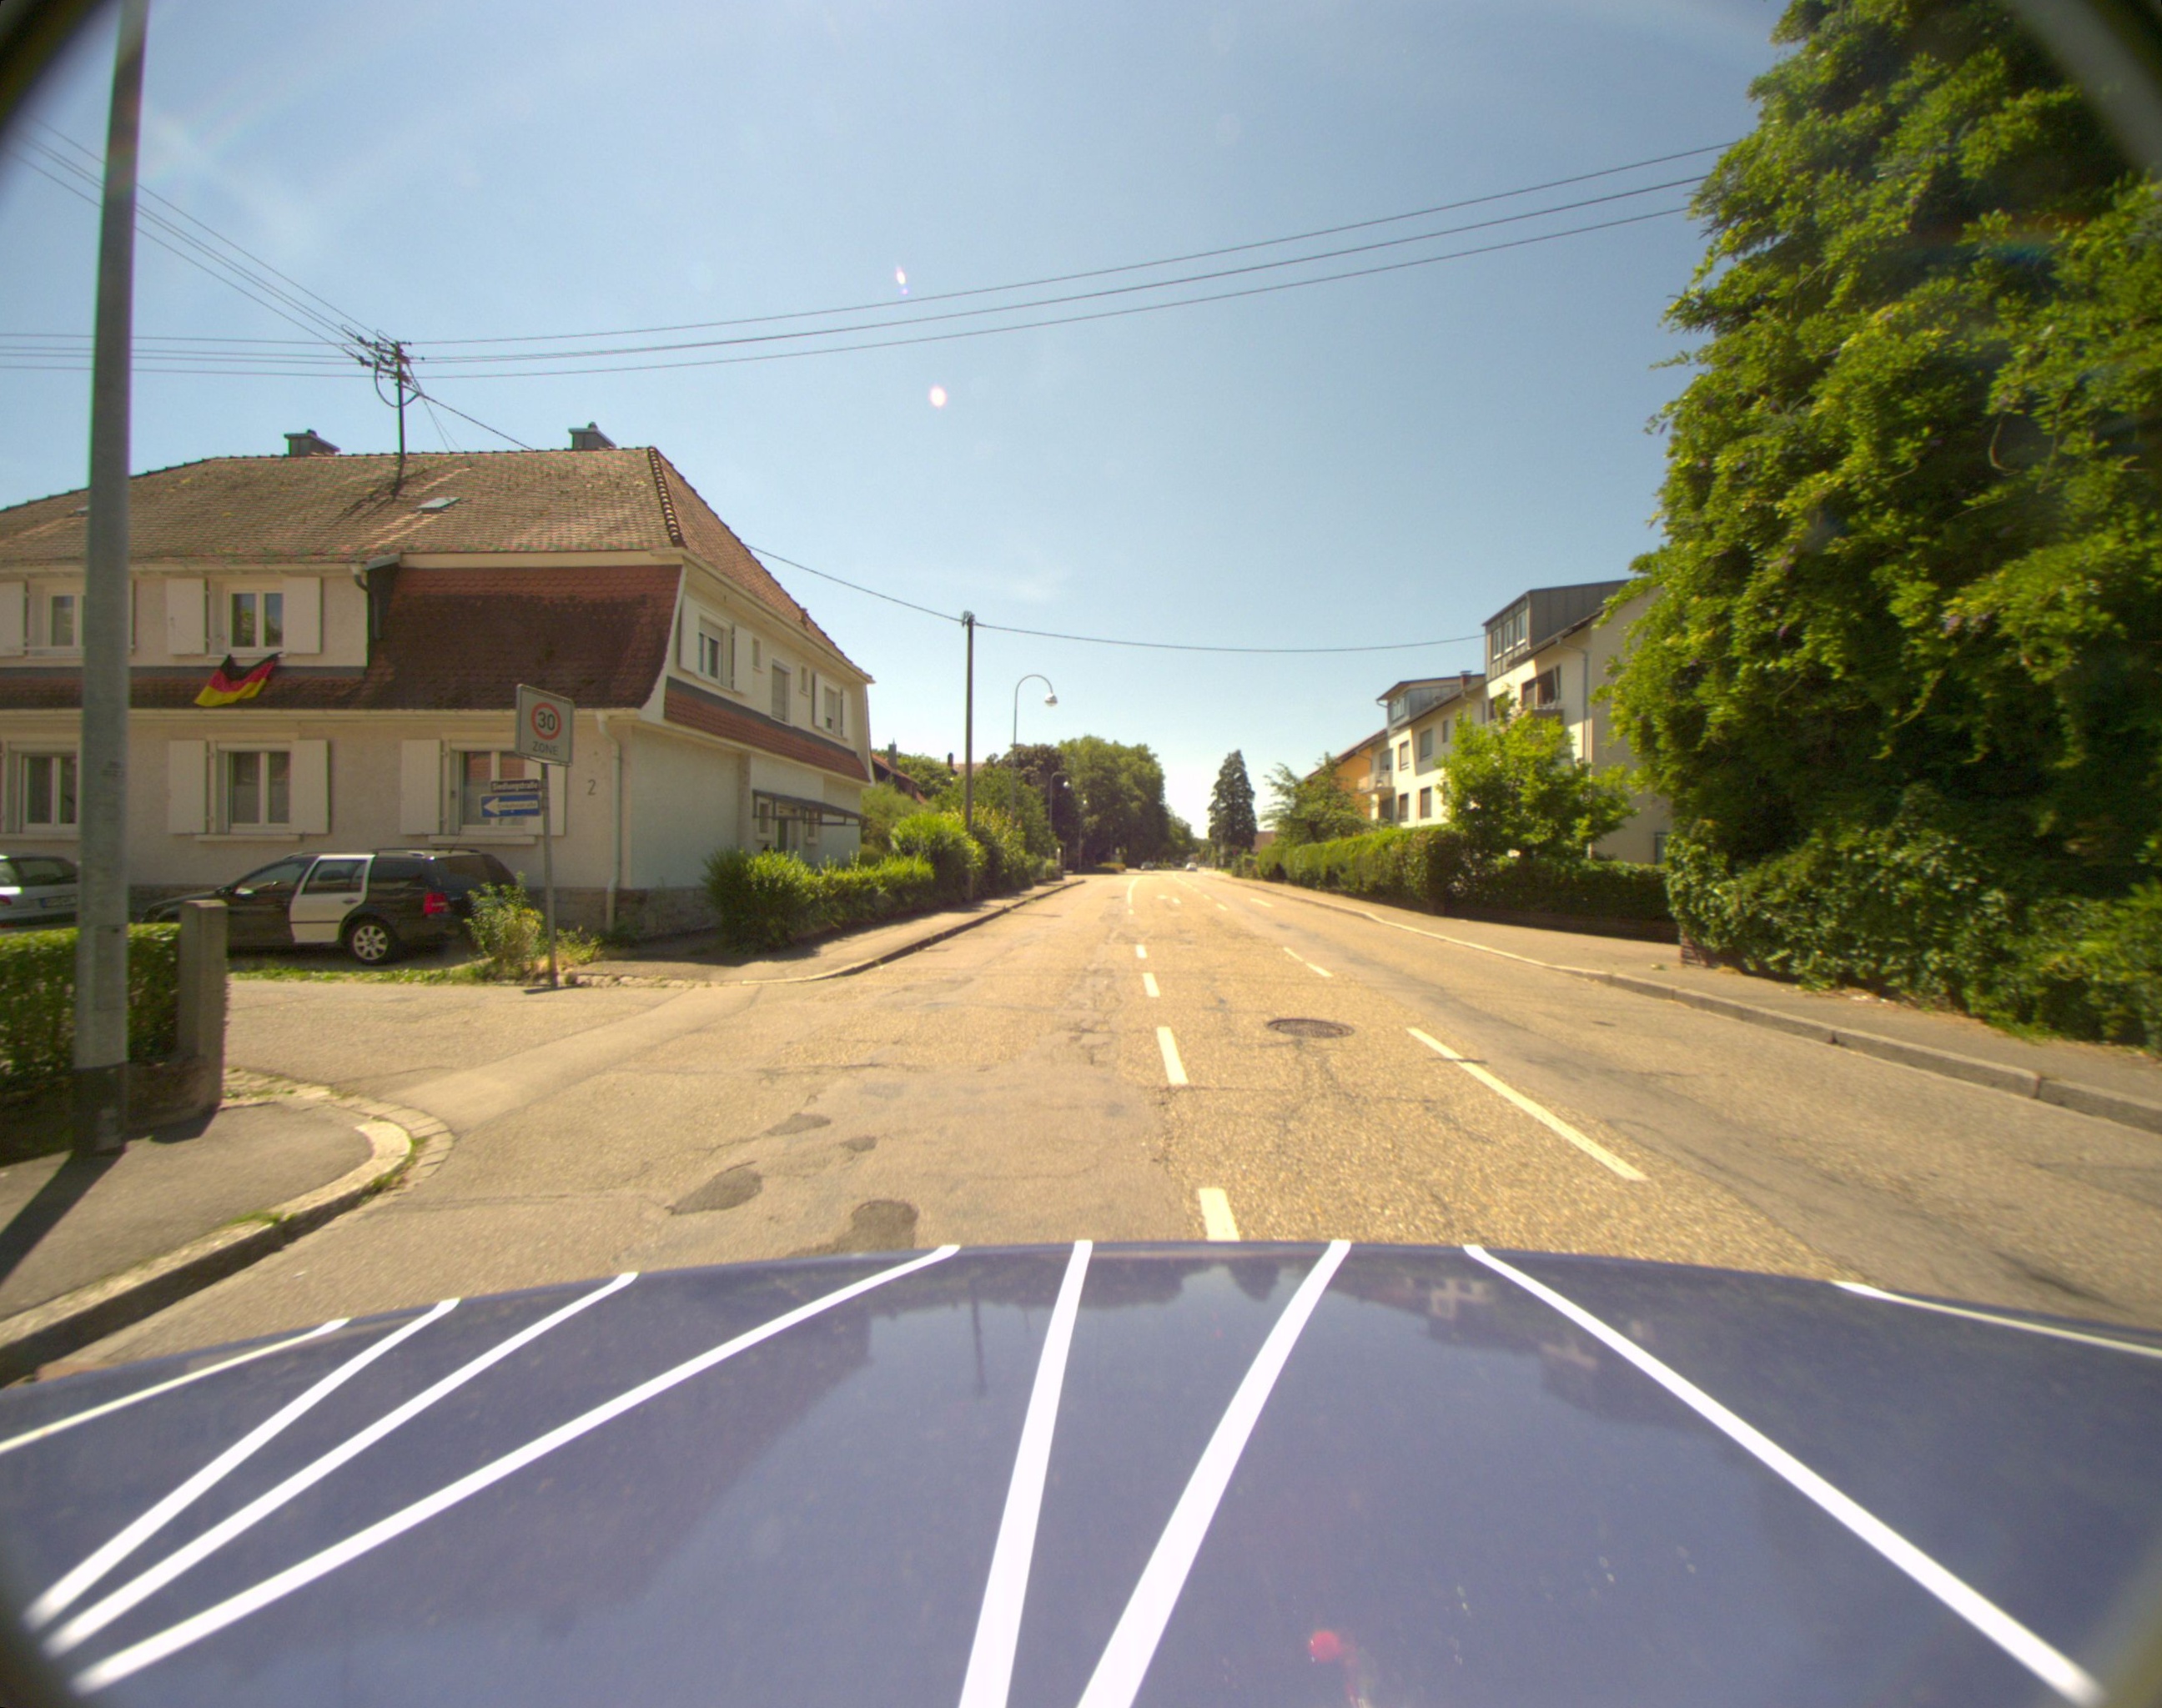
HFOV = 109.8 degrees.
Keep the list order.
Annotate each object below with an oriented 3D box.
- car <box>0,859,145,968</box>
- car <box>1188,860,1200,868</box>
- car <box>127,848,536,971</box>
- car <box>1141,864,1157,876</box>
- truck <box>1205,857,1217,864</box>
[{"bbox_3d":[-16.237,0.782,10.744,3.750,1.404,1.692,1,1,-3],"label":"car"},{"bbox_3d":[18.720,1.623,125.992,1.684,1.364,4.208,2,0,6],"label":"car"},{"bbox_3d":[-10.145,0.707,10.498,4.005,1.527,1.693,-1,1,2],"label":"car"},{"bbox_3d":[10.429,2.415,116.082,1.882,1.623,4.325,1,0,12],"label":"car"},{"bbox_3d":[43.078,2.034,251.048,2.619,2.227,6.267,0,0,21],"label":"truck"}]
